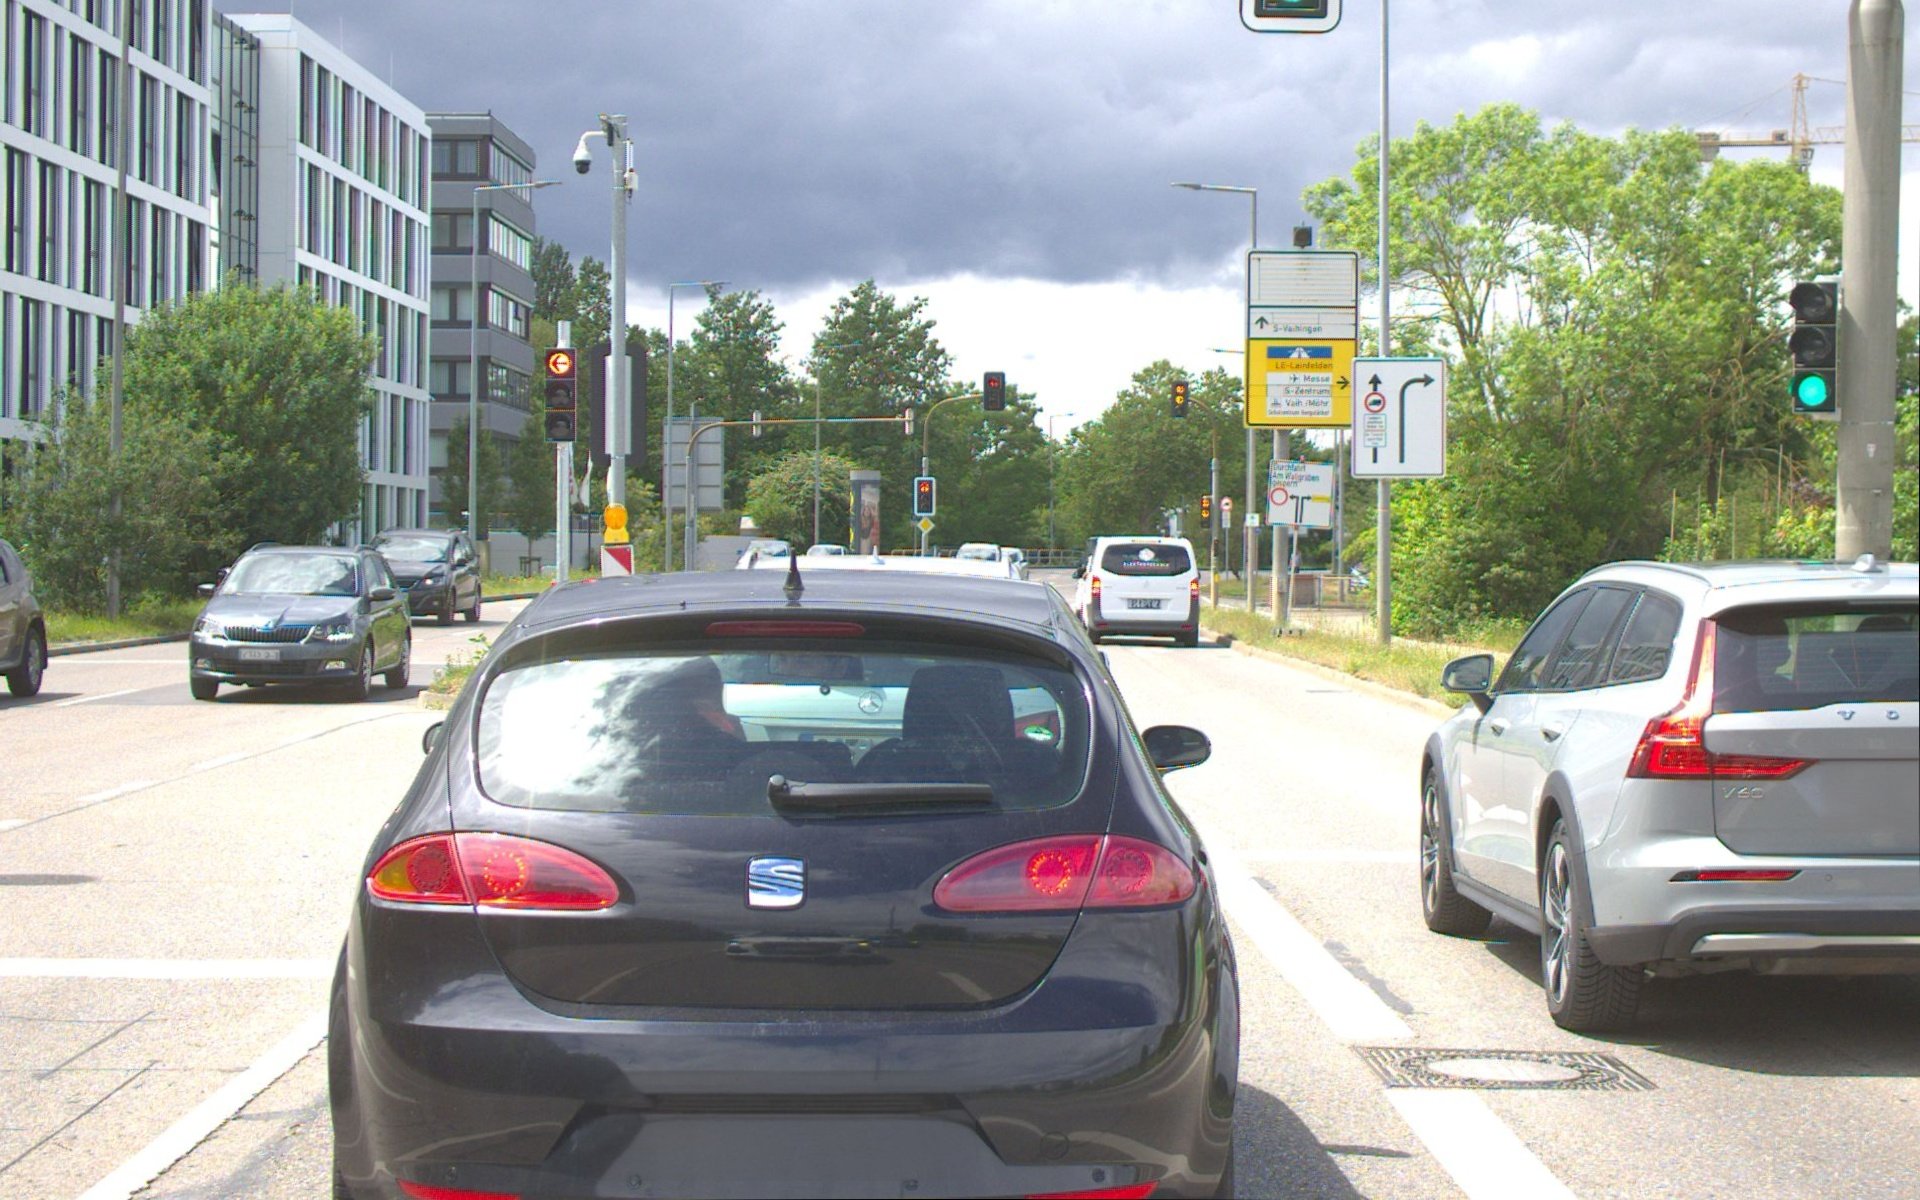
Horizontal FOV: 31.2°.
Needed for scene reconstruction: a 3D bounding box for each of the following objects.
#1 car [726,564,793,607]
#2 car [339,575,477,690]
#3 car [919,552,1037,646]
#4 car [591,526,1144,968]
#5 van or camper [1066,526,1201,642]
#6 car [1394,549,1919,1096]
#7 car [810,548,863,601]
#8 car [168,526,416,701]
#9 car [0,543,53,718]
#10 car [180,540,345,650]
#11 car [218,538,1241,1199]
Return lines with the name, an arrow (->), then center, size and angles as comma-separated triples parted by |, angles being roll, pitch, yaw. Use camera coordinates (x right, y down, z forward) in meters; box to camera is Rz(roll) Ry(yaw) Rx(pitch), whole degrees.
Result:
car -> -6.547, -0.481, 112.482 | 1.993, 1.404, 4.000 | 0, 0, -1
car -> -9.954, 0.547, 62.228 | 1.993, 2.007, 4.482 | 0, 0, -3
car -> 0.319, -0.023, 55.546 | 1.845, 1.456, 4.056 | 0, 0, 1
car -> -0.440, 0.521, 14.575 | 1.983, 1.585, 4.226 | 1, 0, -3
van or camper -> 2.938, -0.272, 58.997 | 1.899, 1.919, 4.000 | 0, 0, -3
car -> 2.787, 0.604, 11.837 | 1.958, 1.520, 4.340 | -1, 0, -1
car -> -4.769, -0.977, 133.151 | 1.993, 2.007, 4.000 | 0, 0, -1
car -> -6.493, 0.083, 33.781 | 1.668, 1.519, 4.008 | 1, 2, -1
car -> -9.824, 0.308, 31.902 | 1.751, 1.625, 4.000 | -1, 1, -1
car -> -10.562, -0.081, 52.298 | 1.776, 1.606, 4.000 | 0, 0, -1
car -> -0.302, 0.622, 7.851 | 1.748, 1.479, 4.000 | 0, 0, 3
